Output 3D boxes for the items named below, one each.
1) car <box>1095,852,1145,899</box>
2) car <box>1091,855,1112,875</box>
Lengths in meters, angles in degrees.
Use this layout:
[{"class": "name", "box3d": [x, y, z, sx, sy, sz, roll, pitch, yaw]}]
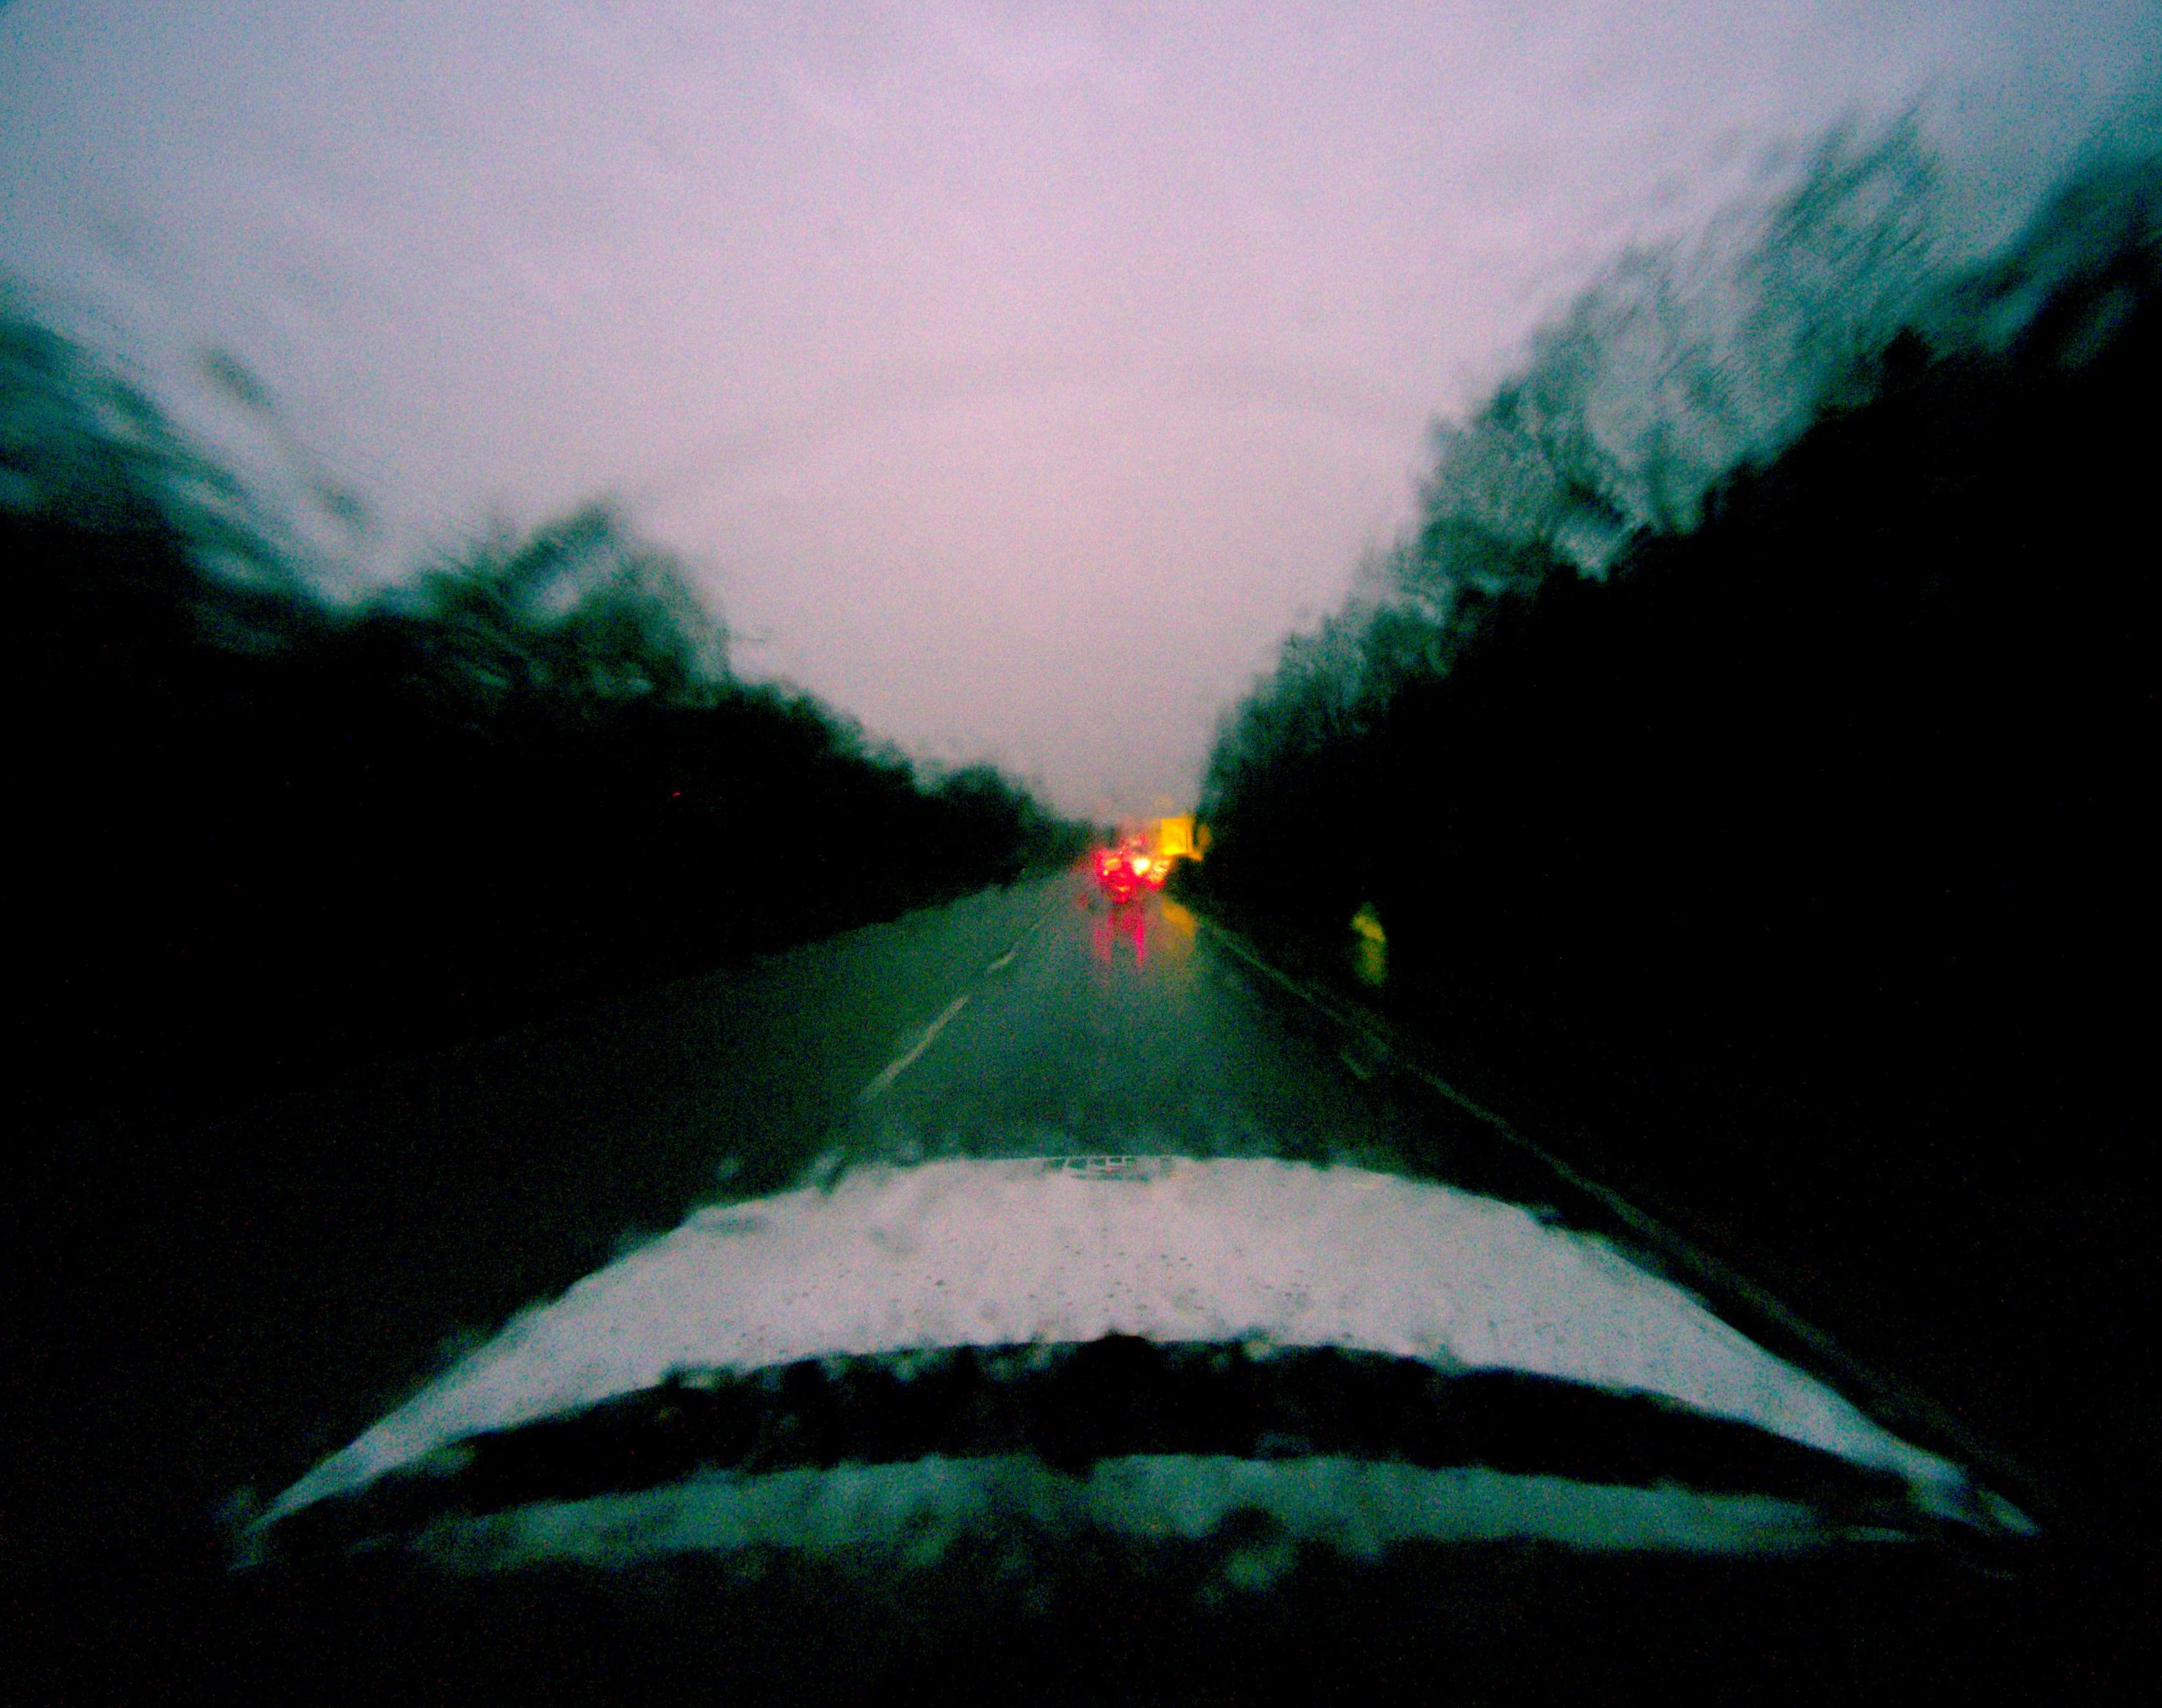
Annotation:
[{"class": "car", "box3d": [1.464, 0.782, 30.928, 1.721, 1.643, 4.002, -1, 0, 2]}, {"class": "car", "box3d": [1.834, 0.927, 71.886, 1.721, 1.643, 4.002, -1, 0, 2]}]
